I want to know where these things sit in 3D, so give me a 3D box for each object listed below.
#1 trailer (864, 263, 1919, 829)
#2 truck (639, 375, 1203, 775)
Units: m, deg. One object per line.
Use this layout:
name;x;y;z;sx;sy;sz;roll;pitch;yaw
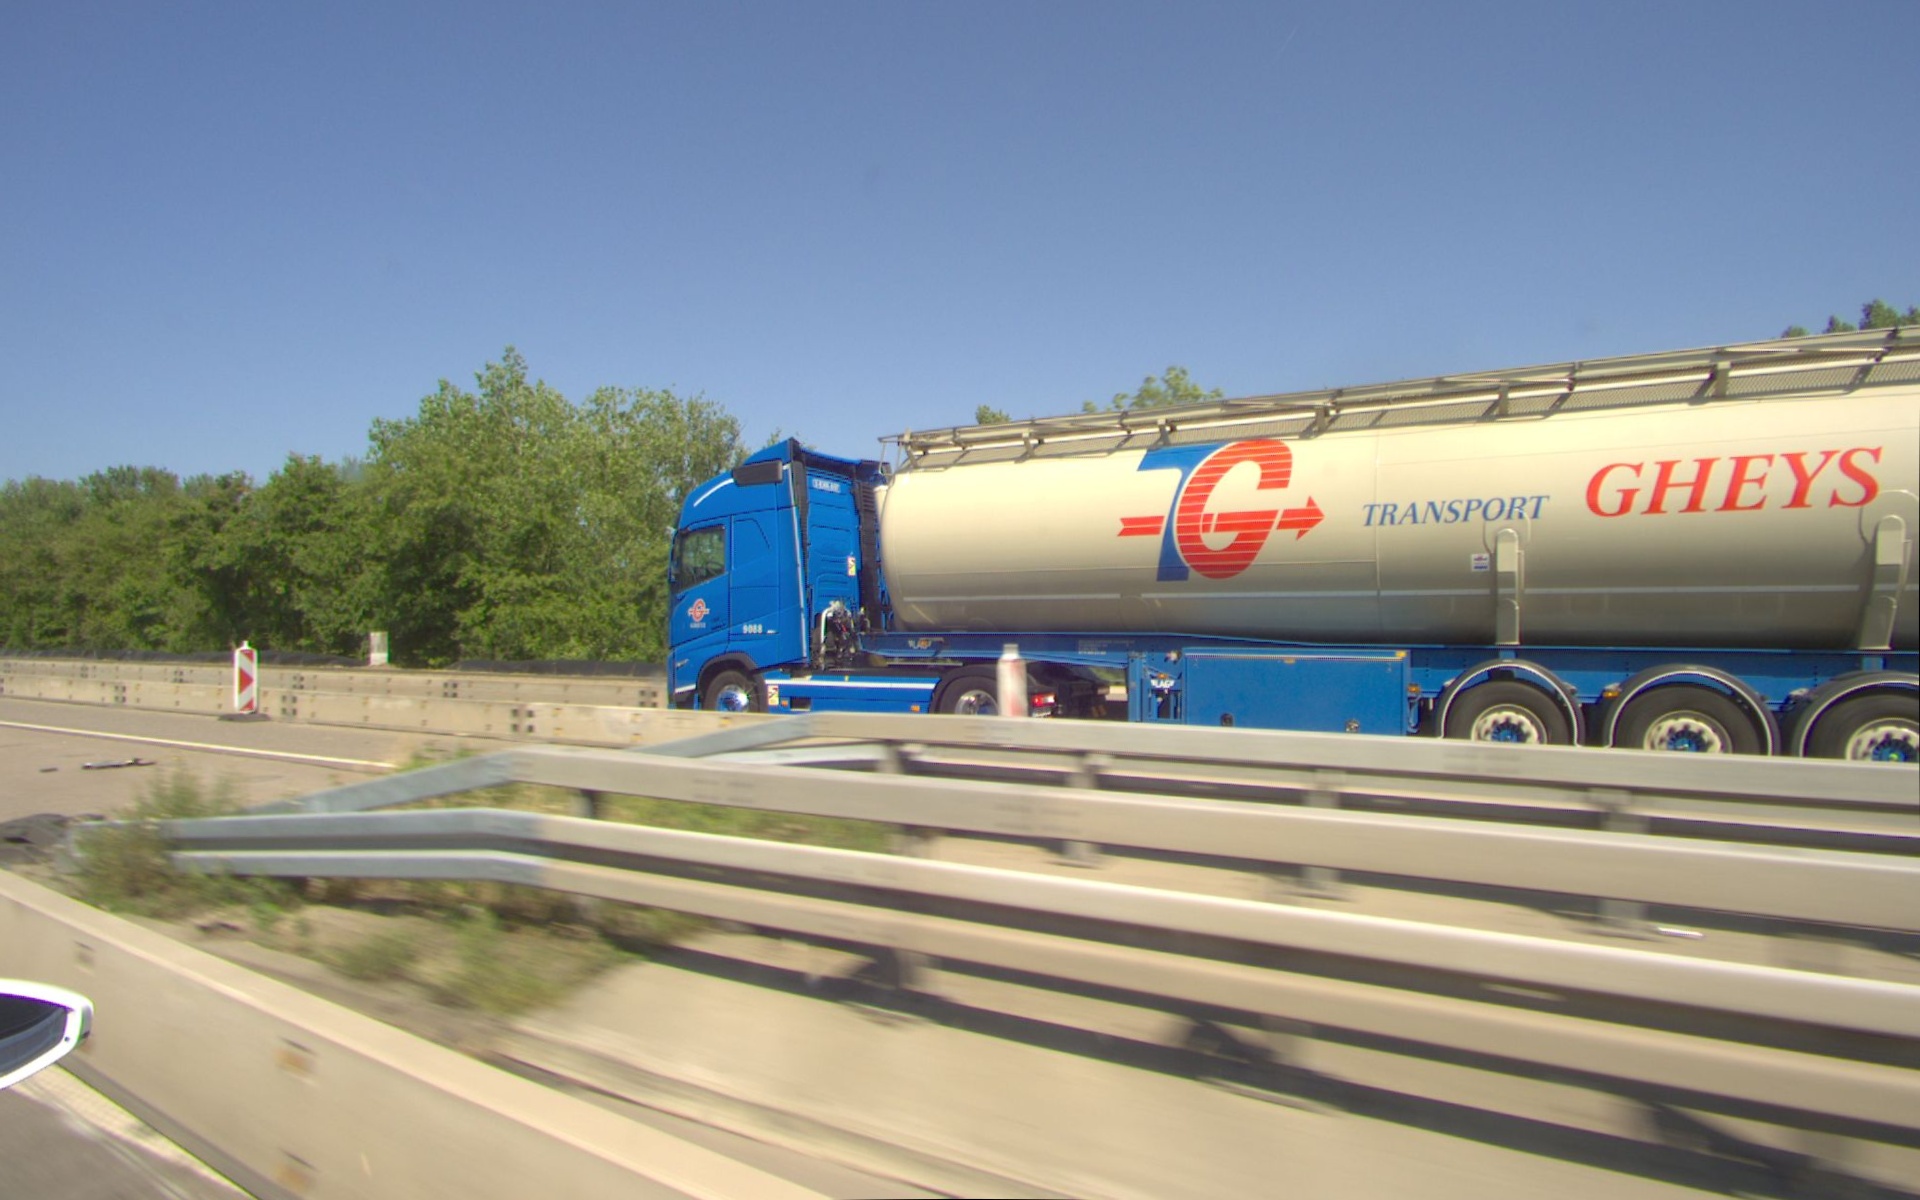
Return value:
trailer;4.910;-0.333;10.204;12.422;4.191;2.691;-1;-1;29
truck;-0.689;-0.185;13.359;7.190;4.156;2.691;-1;-1;29
